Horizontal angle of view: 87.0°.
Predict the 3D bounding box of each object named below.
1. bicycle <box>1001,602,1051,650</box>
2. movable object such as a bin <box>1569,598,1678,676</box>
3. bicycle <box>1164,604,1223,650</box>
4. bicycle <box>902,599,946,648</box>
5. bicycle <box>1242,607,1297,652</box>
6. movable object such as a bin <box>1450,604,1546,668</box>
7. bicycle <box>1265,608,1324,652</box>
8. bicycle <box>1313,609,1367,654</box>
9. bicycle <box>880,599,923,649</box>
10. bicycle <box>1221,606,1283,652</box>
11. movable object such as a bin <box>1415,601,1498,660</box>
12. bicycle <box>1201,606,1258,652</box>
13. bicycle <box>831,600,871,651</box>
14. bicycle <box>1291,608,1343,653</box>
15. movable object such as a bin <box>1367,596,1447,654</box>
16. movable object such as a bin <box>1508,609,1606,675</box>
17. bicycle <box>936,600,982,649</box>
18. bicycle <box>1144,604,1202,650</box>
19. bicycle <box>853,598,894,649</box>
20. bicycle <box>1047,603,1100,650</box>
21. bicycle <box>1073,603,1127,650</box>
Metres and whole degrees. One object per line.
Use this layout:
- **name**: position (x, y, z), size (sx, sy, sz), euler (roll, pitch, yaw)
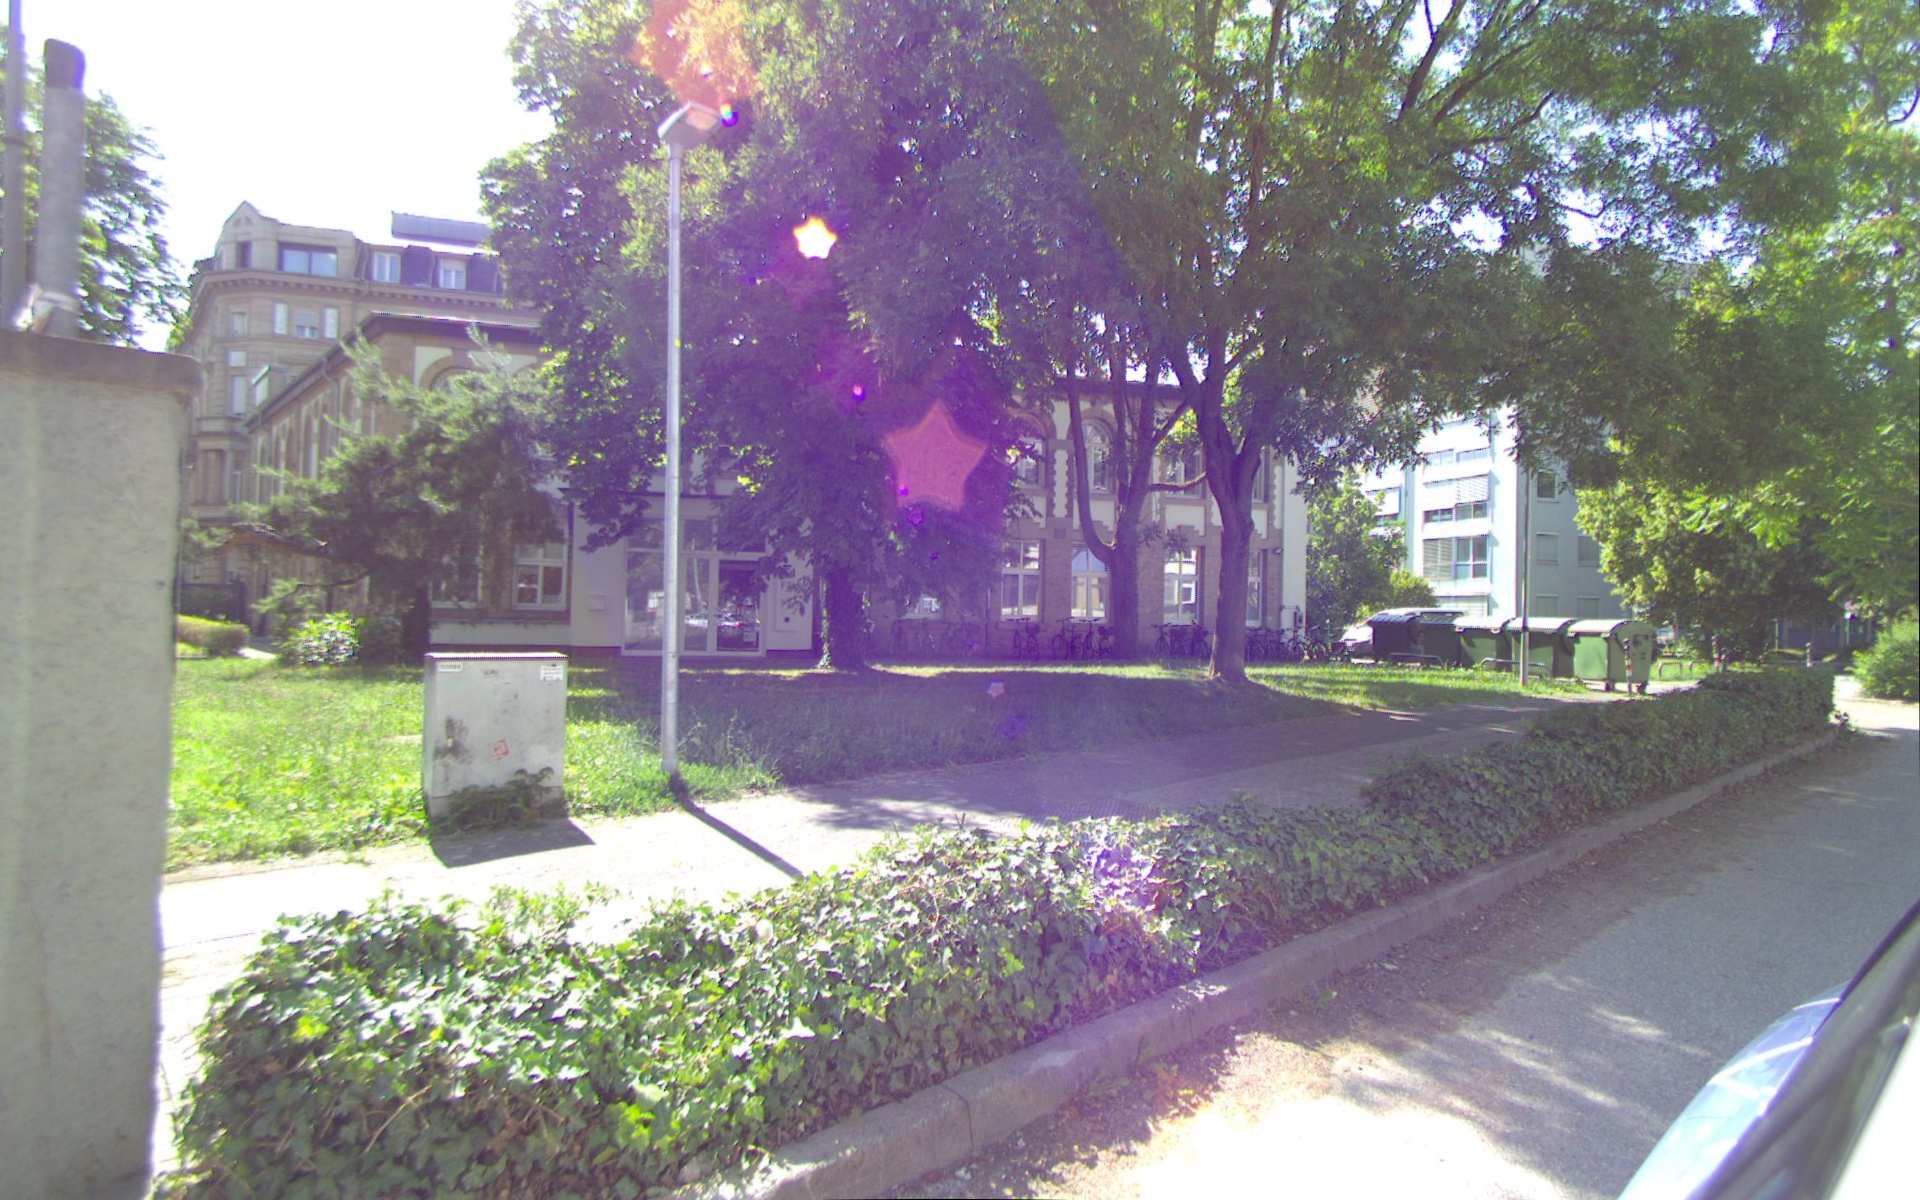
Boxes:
- **bicycle**: position (1.692, 0.649, 26.333), size (0.575, 1.176, 2.107), euler (1, 0, -17)
- **movable object such as a bin**: position (13.267, 0.724, 20.295), size (1.191, 1.481, 1.394), euler (1, 0, -5)
- **bicycle**: position (6.347, 0.722, 27.653), size (0.575, 1.176, 2.107), euler (1, 0, -17)
- **bicycle**: position (-0.935, 0.569, 25.690), size (0.575, 1.176, 2.107), euler (1, 0, -17)
- **bicycle**: position (8.626, 0.798, 28.285), size (0.484, 1.176, 1.918), euler (1, 0, -17)
- **movable object such as a bin**: position (12.273, 0.803, 23.134), size (1.190, 1.379, 1.505), euler (1, 0, -20)
- **bicycle**: position (9.418, 0.831, 28.580), size (0.600, 1.176, 1.855), euler (1, 0, -17)
- **bicycle**: position (10.695, 0.866, 28.546), size (0.546, 1.176, 1.948), euler (1, 0, -7)
- **bicycle**: position (-1.482, 0.570, 25.393), size (0.575, 1.176, 2.107), euler (1, 0, -17)
- **bicycle**: position (8.083, 0.783, 28.142), size (0.575, 1.176, 2.107), euler (1, 0, -17)
- **movable object such as a bin**: position (12.075, 0.723, 24.654), size (1.190, 1.366, 1.355), euler (1, 0, -20)
- **bicycle**: position (7.402, 0.774, 27.860), size (0.575, 1.176, 1.926), euler (1, 0, -17)
- **bicycle**: position (-2.664, 0.593, 24.575), size (0.575, 1.176, 2.107), euler (1, 0, -17)
- **bicycle**: position (10.069, 0.845, 28.615), size (0.496, 1.176, 1.808), euler (1, 0, -12)
- **movable object such as a bin**: position (11.518, 0.635, 26.129), size (1.224, 1.427, 1.439), euler (1, 0, -21)
- **movable object such as a bin**: position (12.774, 0.882, 21.689), size (1.190, 1.317, 1.358), euler (1, 0, -20)
- **bicycle**: position (-0.044, 0.614, 25.893), size (0.575, 1.176, 2.107), euler (1, 0, -17)
- **bicycle**: position (5.736, 0.702, 27.409), size (0.575, 1.176, 2.107), euler (1, 0, -17)
- **bicycle**: position (-2.177, 0.559, 25.186), size (0.575, 1.176, 2.107), euler (1, 0, -17)
- **bicycle**: position (2.979, 0.678, 26.683), size (0.575, 1.176, 2.107), euler (1, 0, -17)
- **bicycle**: position (3.695, 0.678, 26.938), size (0.575, 1.176, 2.107), euler (1, 0, -17)
